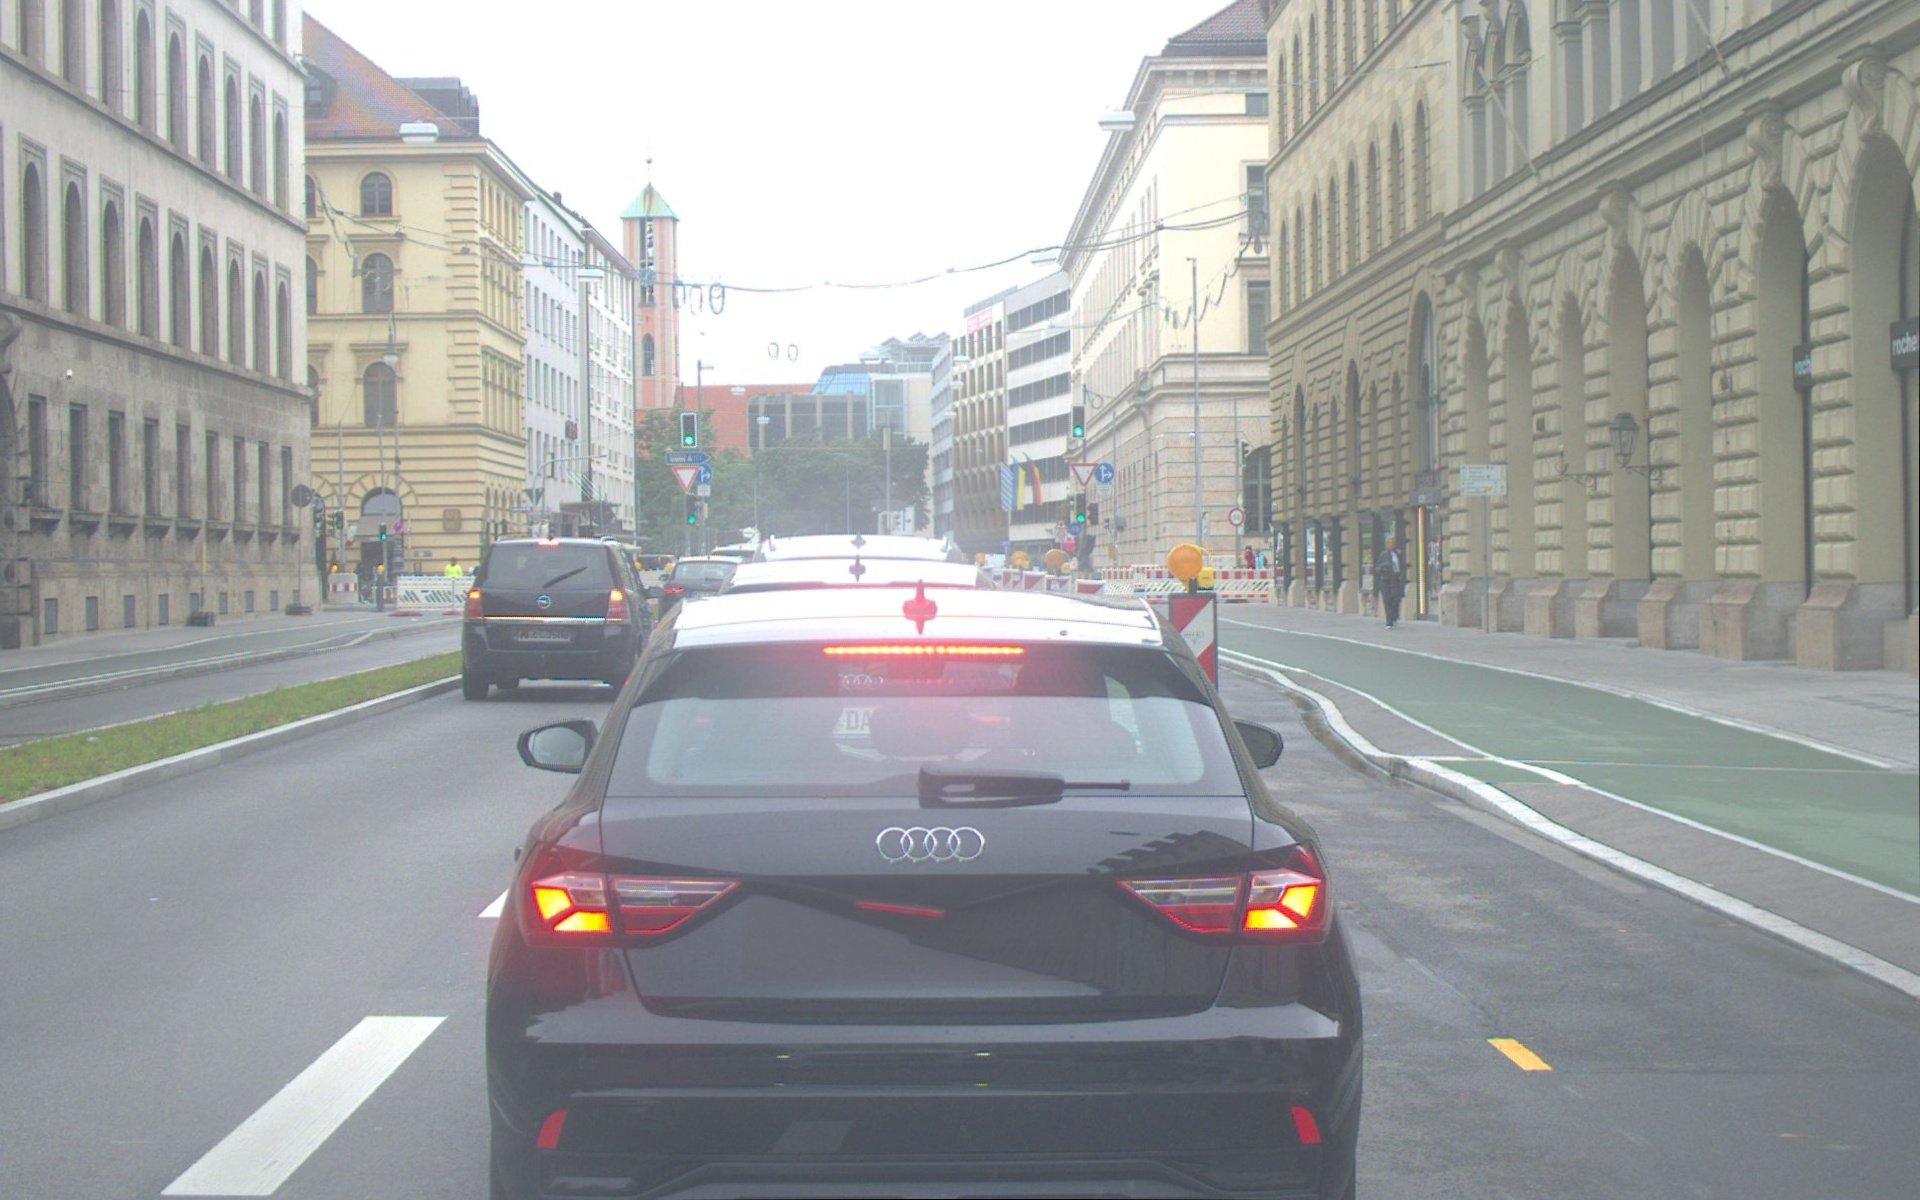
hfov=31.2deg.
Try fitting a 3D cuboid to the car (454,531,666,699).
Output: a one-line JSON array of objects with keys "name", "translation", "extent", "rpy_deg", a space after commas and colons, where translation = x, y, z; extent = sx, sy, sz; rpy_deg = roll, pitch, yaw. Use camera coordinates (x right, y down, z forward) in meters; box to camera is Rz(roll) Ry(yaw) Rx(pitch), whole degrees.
[{"name": "car", "translation": [-4.038, 0.112, 35.235], "extent": [1.764, 1.610, 4.030], "rpy_deg": [1, 1, -1]}]

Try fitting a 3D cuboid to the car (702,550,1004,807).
[{"name": "car", "translation": [-0.655, 0.427, 21.909], "extent": [1.730, 1.456, 4.000], "rpy_deg": [1, 1, -1]}]

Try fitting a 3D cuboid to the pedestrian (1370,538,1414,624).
[{"name": "pedestrian", "translation": [8.108, -0.362, 64.528], "extent": [0.710, 1.612, 0.754], "rpy_deg": [-1, 1, -1]}]

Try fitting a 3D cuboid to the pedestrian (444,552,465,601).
[{"name": "pedestrian", "translation": [-18.491, -0.861, 125.825], "extent": [0.656, 1.799, 0.727], "rpy_deg": [-1, 1, -1]}]

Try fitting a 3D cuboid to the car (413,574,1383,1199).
[{"name": "car", "translation": [-0.148, 0.670, 8.187], "extent": [1.730, 1.398, 4.000], "rpy_deg": [1, 1, -1]}]

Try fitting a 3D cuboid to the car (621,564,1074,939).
[{"name": "car", "translation": [-0.470, 0.564, 15.271], "extent": [1.730, 1.398, 4.000], "rpy_deg": [1, 1, -1]}]

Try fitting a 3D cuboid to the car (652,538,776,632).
[{"name": "car", "translation": [-4.420, -0.298, 62.267], "extent": [1.993, 1.622, 4.000], "rpy_deg": [-1, 1, -1]}]

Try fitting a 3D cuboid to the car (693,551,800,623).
[{"name": "car", "translation": [-4.391, -0.290, 71.337], "extent": [1.993, 1.439, 4.000], "rpy_deg": [-1, 1, -1]}]
